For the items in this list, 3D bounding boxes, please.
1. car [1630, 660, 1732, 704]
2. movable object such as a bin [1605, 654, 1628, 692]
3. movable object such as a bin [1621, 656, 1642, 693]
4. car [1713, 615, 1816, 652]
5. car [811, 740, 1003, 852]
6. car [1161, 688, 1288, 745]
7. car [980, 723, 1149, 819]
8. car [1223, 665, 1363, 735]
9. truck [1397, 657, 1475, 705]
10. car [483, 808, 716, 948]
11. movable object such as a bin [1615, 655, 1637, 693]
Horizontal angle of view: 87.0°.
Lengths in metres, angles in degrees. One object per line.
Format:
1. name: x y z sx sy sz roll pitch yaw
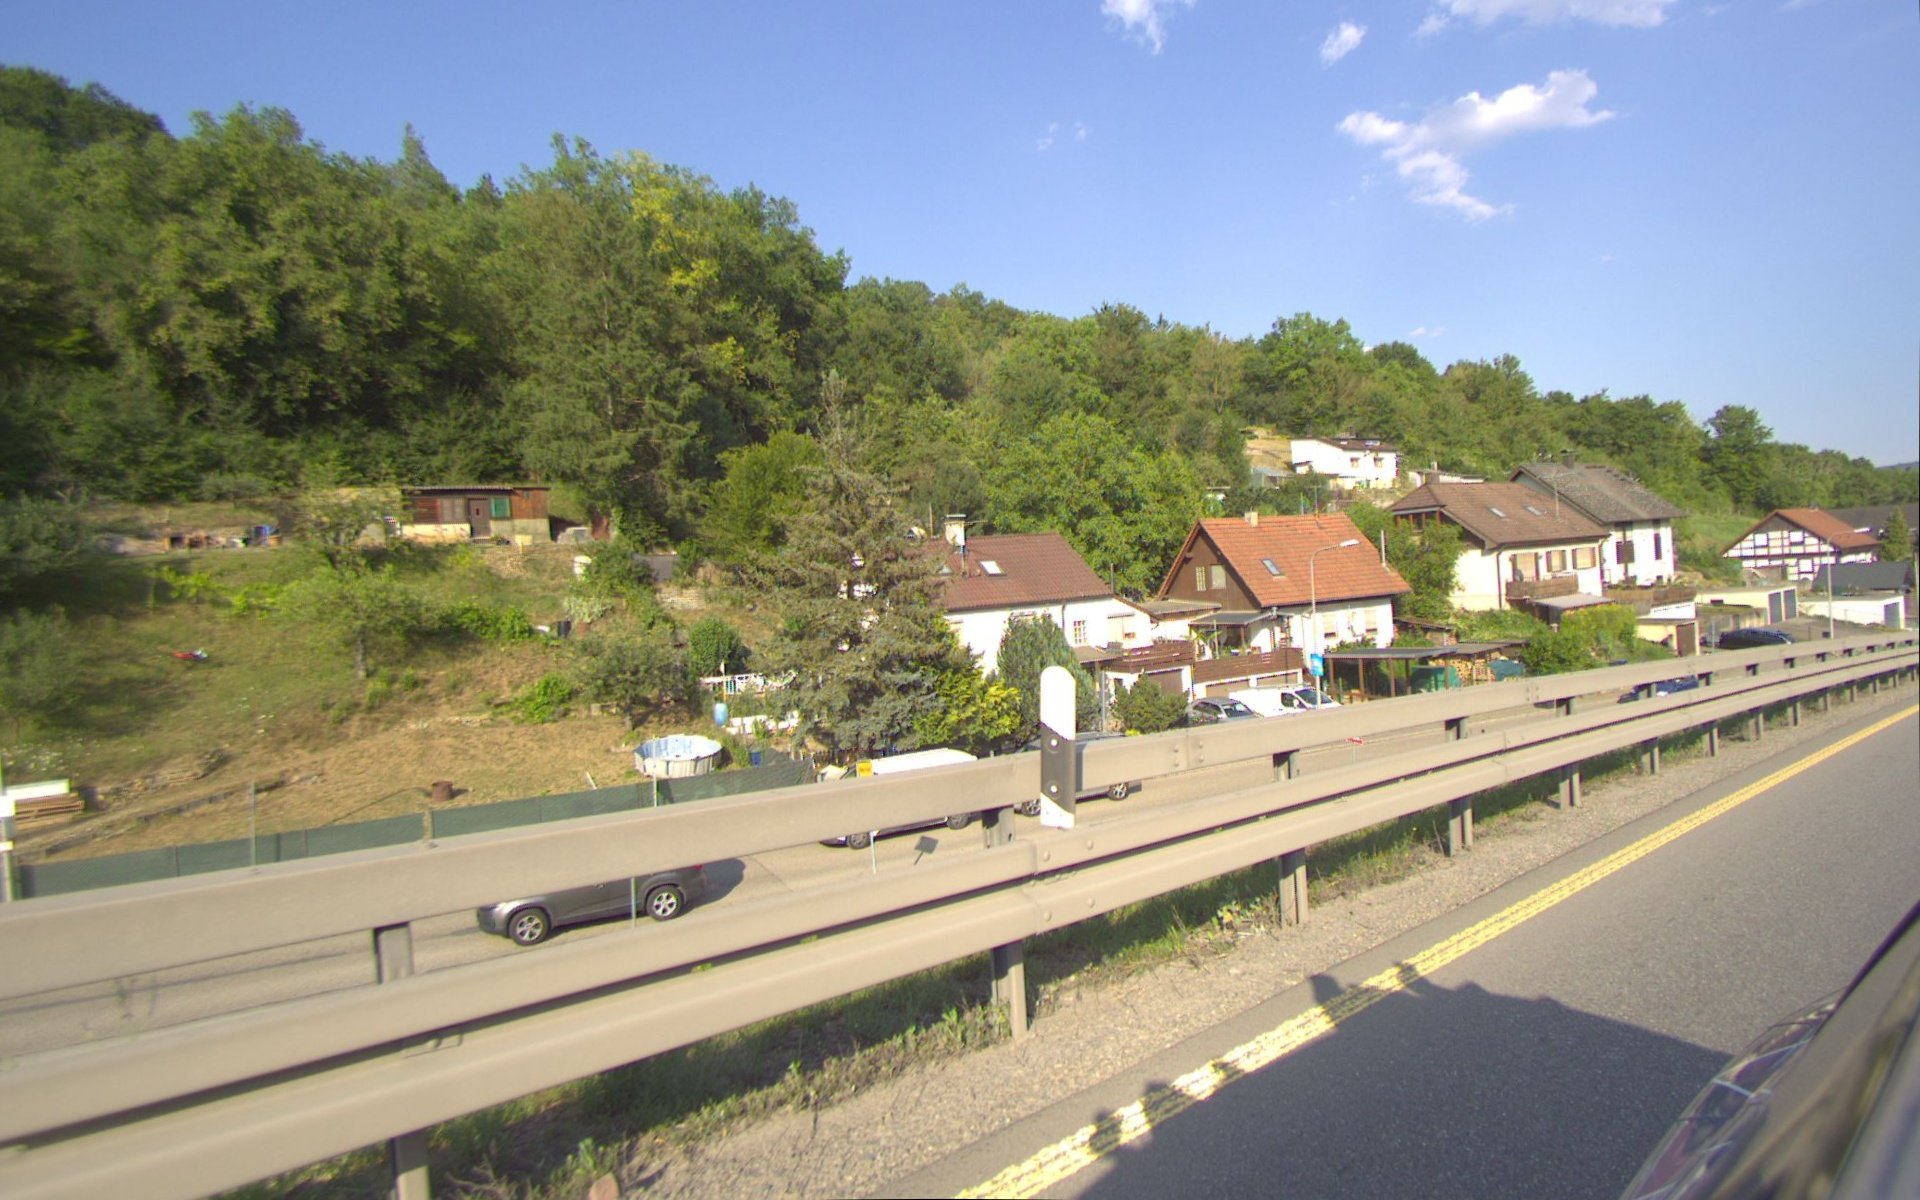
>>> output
1. car: 31.970 3.606 44.879 3.542 1.619 1.776 -3 -3 -18
2. movable object such as a bin: 32.184 3.564 49.642 0.400 1.794 0.537 -3 -8 -27
3. movable object such as a bin: 33.307 3.689 50.203 0.405 1.794 0.491 -3 -8 -27
4. car: 49.512 2.032 62.382 1.961 1.542 4.518 -3 8 -30
5. car: -1.416 5.292 27.933 4.954 2.010 1.870 -3 3 -32
6. car: 10.422 4.562 40.264 1.682 1.576 5.110 -2 1 -32
7. car: 3.169 5.051 30.502 4.767 1.940 2.005 -3 3 -29
8. car: 13.753 4.080 42.168 1.961 2.292 5.487 -2 1 -32
9. truck: 22.200 3.770 47.381 1.967 1.760 3.990 -7 -2 8
10. car: -7.655 5.791 21.542 4.408 1.807 1.871 -2 1 -28
11. movable object such as a bin: 32.936 3.647 50.020 0.405 1.794 0.491 -3 -8 -27
